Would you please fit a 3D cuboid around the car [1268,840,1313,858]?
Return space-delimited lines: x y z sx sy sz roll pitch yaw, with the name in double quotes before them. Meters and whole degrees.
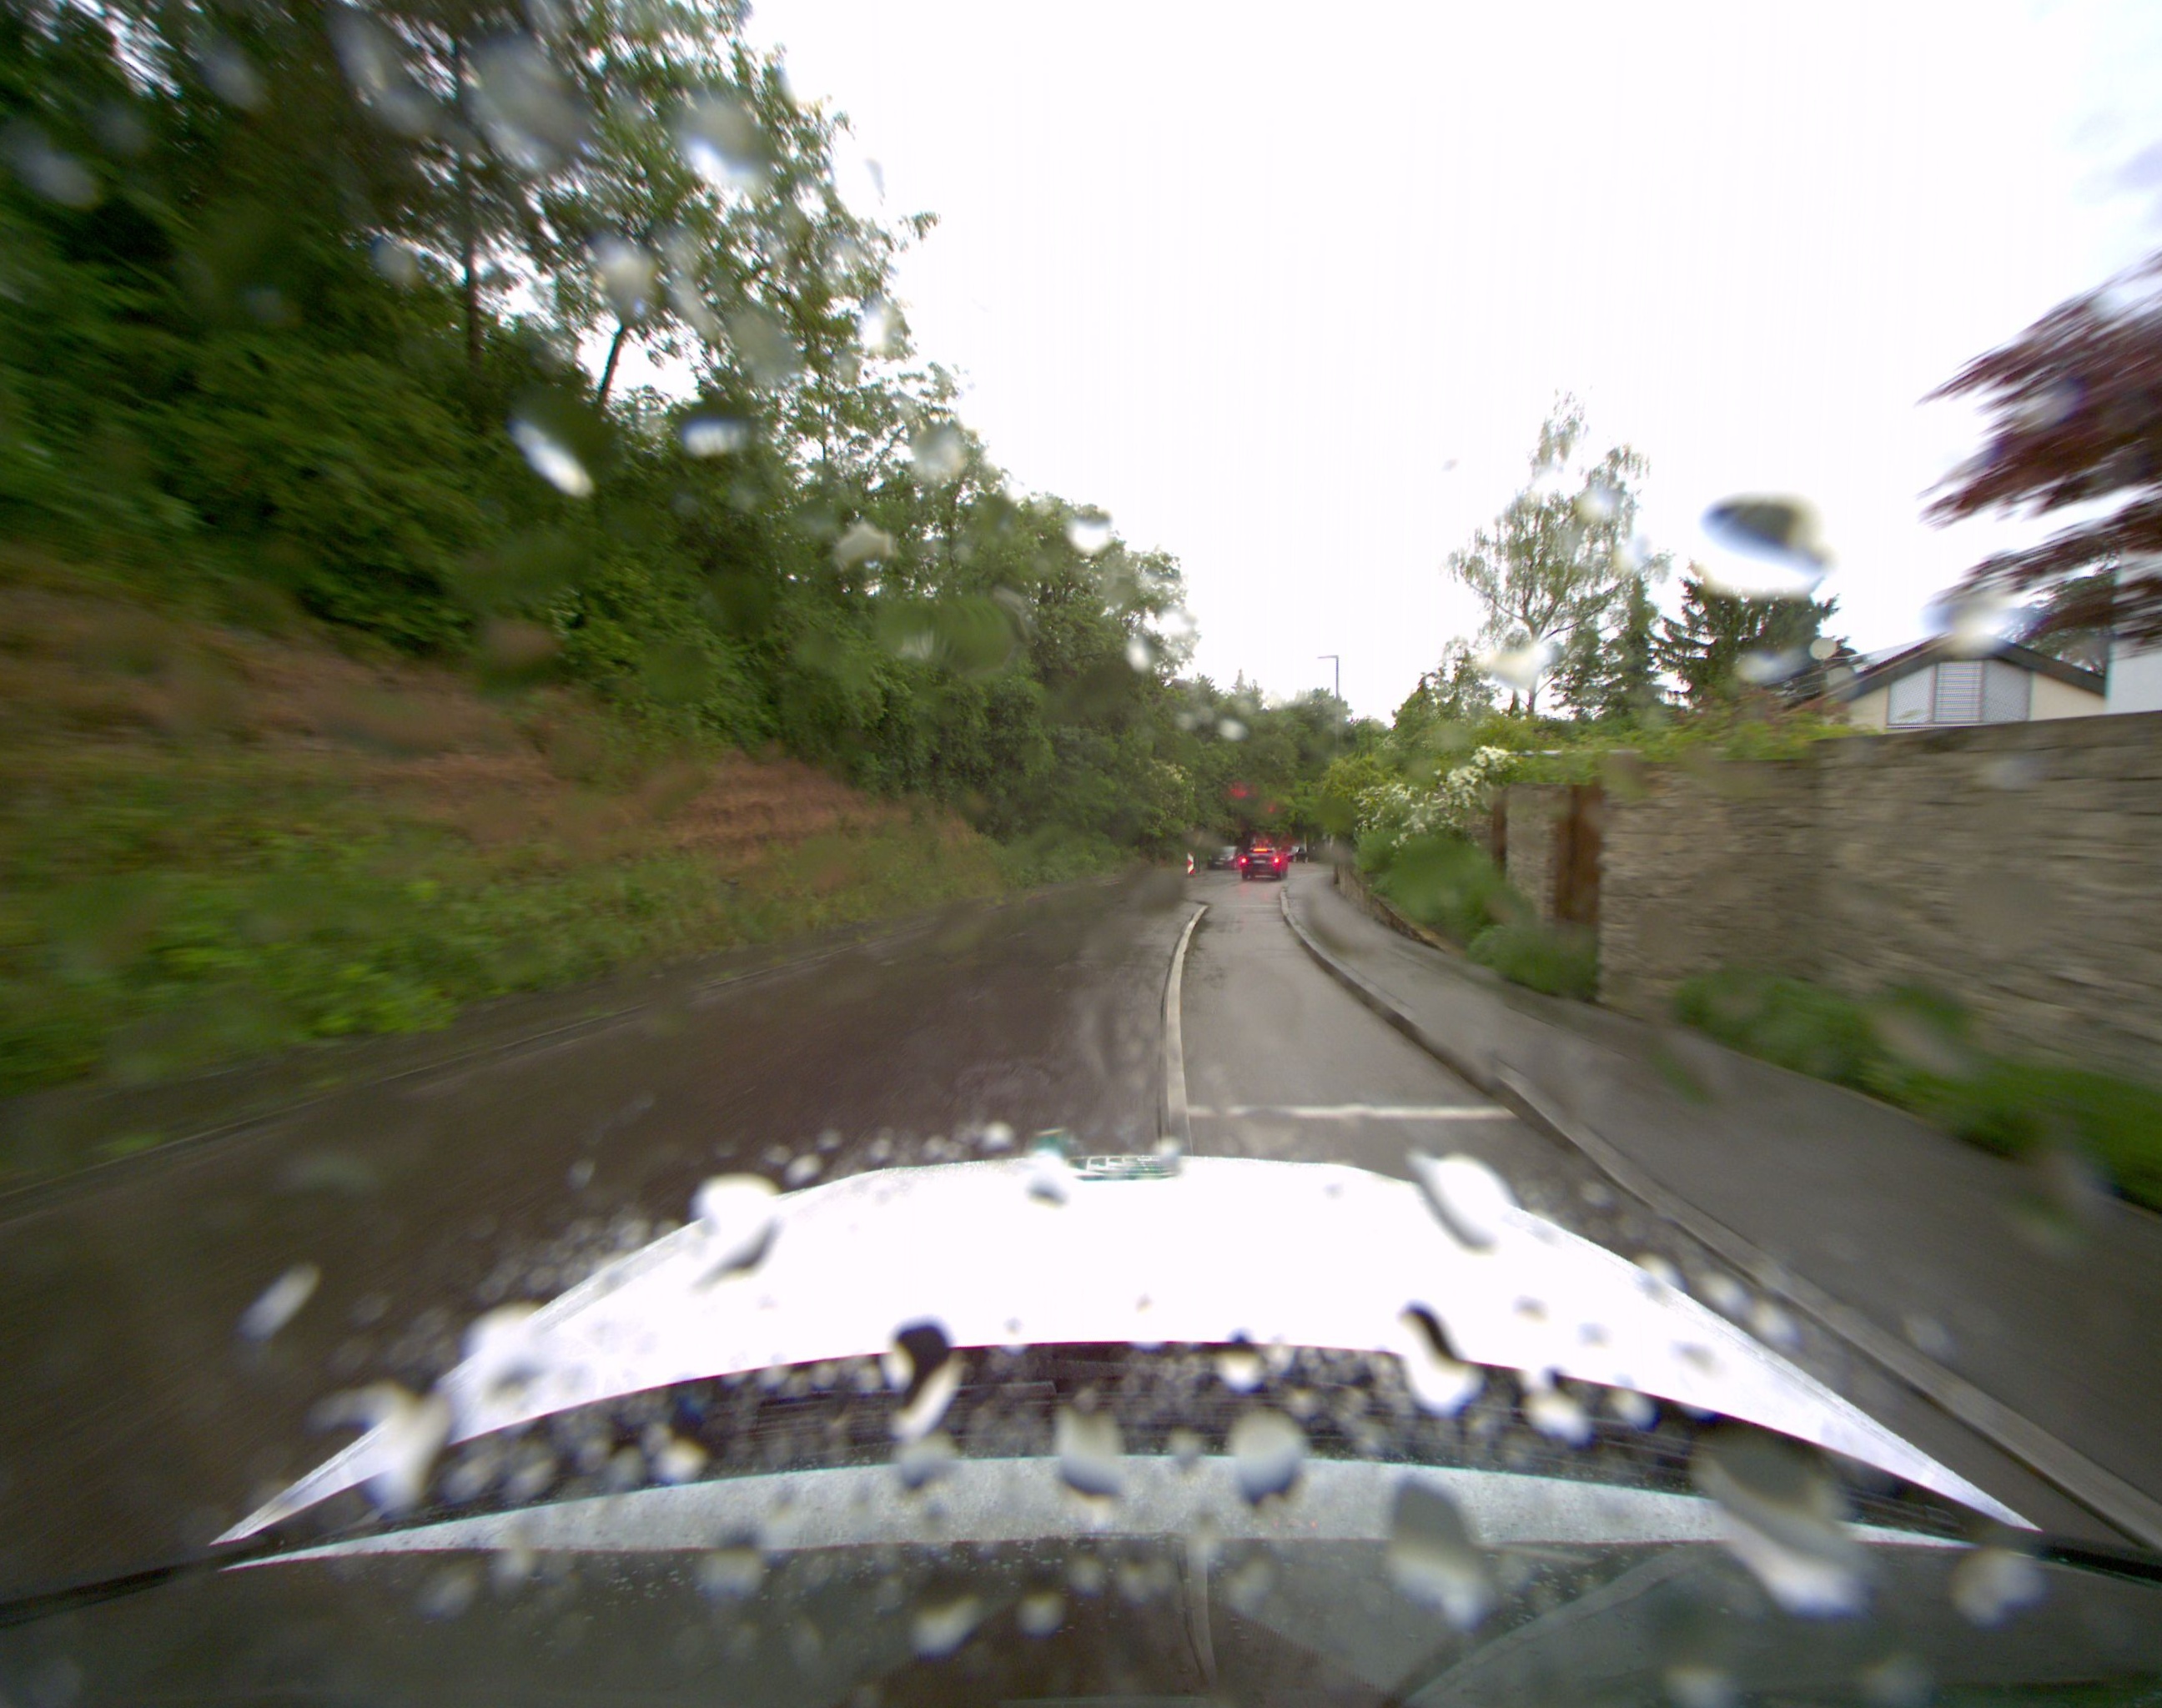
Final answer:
"car" 18.574 -0.405 71.984 1.975 1.508 4.598 2 1 41

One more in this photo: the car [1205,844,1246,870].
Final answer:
"car" 8.894 0.138 49.926 1.685 1.471 4.021 2 2 21

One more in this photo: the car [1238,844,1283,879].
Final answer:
"car" 8.306 0.313 37.451 1.855 1.512 4.109 0 1 14
